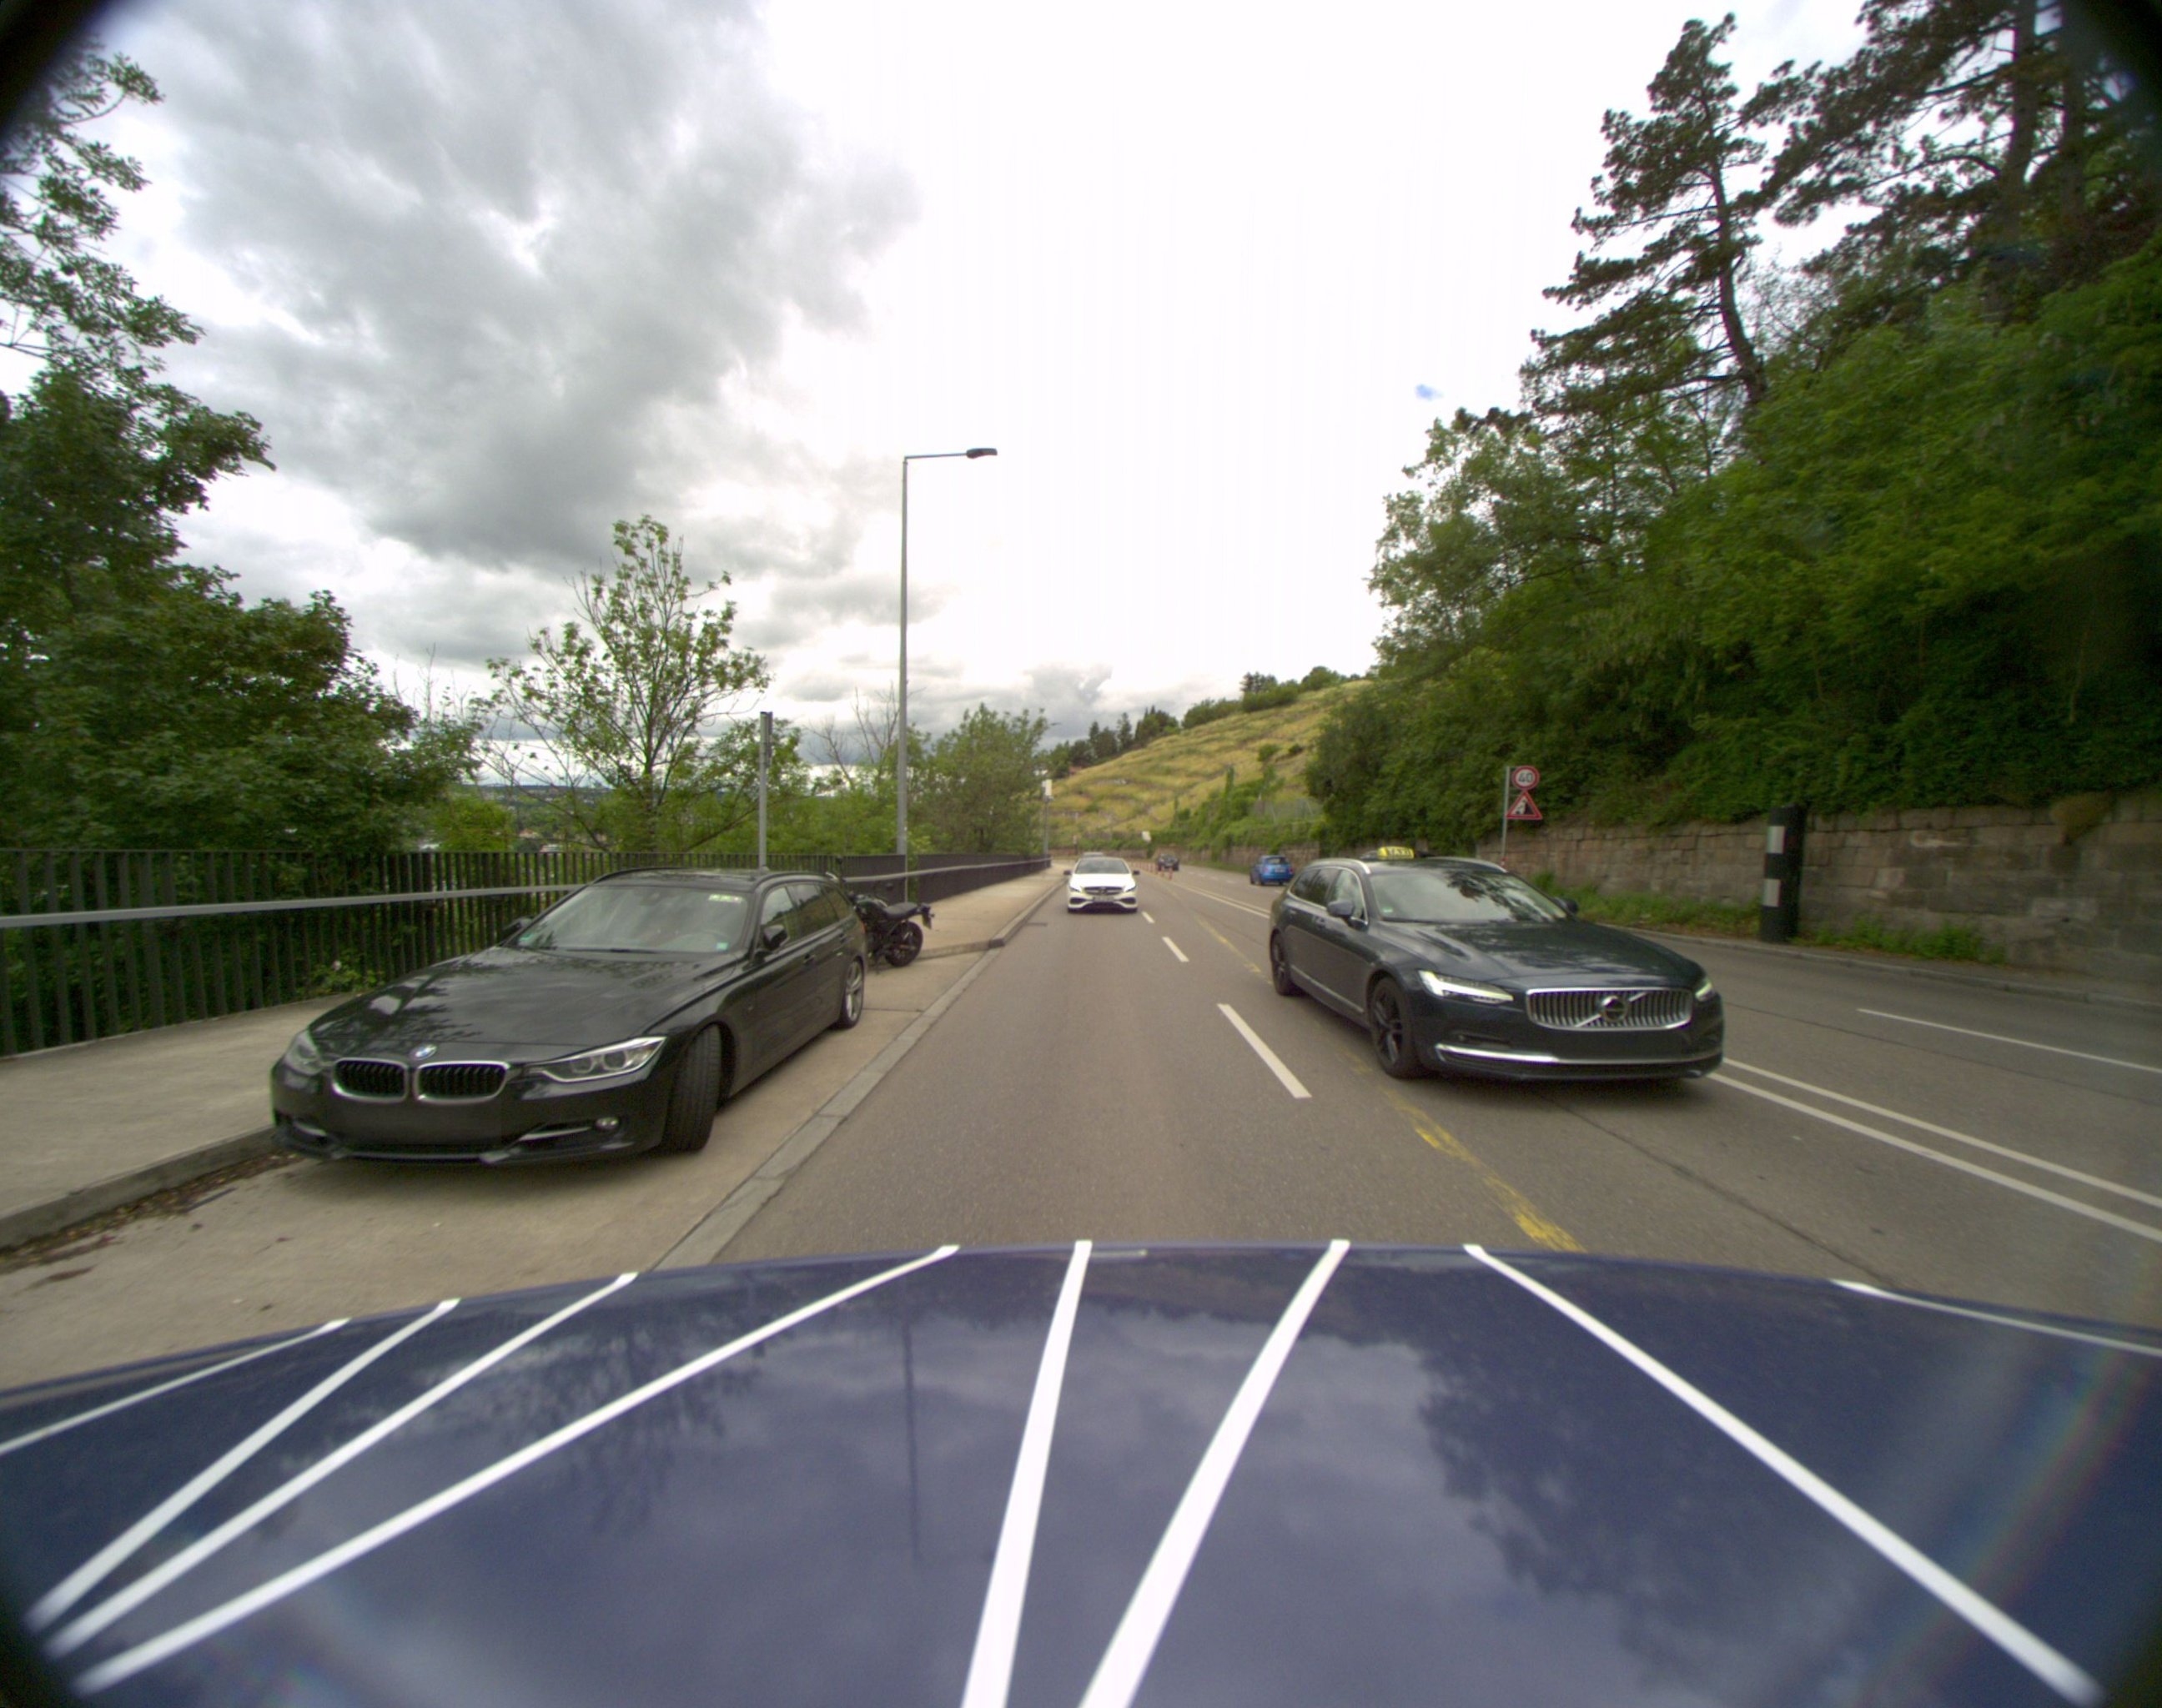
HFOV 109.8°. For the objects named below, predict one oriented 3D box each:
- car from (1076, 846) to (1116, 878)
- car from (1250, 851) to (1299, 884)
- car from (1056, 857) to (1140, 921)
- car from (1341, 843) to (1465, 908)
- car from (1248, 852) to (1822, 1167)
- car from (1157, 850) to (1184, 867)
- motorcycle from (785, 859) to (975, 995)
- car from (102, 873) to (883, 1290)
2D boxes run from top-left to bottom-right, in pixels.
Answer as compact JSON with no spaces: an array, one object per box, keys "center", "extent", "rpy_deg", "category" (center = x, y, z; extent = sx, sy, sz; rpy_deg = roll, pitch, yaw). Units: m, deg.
[{"center":[0.837,0.411,41.596],"extent":[1.998,1.580,4.000],"rpy_deg":[-2,1,2],"category":"car"},{"center":[9.389,0.623,37.128],"extent":[1.587,1.453,3.523],"rpy_deg":[-2,1,2],"category":"car"},{"center":[0.468,0.843,19.627],"extent":[1.903,1.418,4.266],"rpy_deg":[-2,-1,2],"category":"car"},{"center":[9.197,0.545,22.140],"extent":[1.820,1.687,4.469],"rpy_deg":[-1,1,1],"category":"car"},{"center":[2.891,0.803,6.432],"extent":[1.939,1.567,5.027],"rpy_deg":[-2,0,2],"category":"car"},{"center":[7.676,0.377,65.646],"extent":[1.861,1.437,4.295],"rpy_deg":[-1,1,0],"category":"car"},{"center":[-2.439,0.817,9.642],"extent":[0.770,1.459,2.509],"rpy_deg":[0,1,30],"category":"motorcycle"},{"center":[-2.812,0.930,5.065],"extent":[1.828,1.393,4.319],"rpy_deg":[2,0,0],"category":"car"}]
